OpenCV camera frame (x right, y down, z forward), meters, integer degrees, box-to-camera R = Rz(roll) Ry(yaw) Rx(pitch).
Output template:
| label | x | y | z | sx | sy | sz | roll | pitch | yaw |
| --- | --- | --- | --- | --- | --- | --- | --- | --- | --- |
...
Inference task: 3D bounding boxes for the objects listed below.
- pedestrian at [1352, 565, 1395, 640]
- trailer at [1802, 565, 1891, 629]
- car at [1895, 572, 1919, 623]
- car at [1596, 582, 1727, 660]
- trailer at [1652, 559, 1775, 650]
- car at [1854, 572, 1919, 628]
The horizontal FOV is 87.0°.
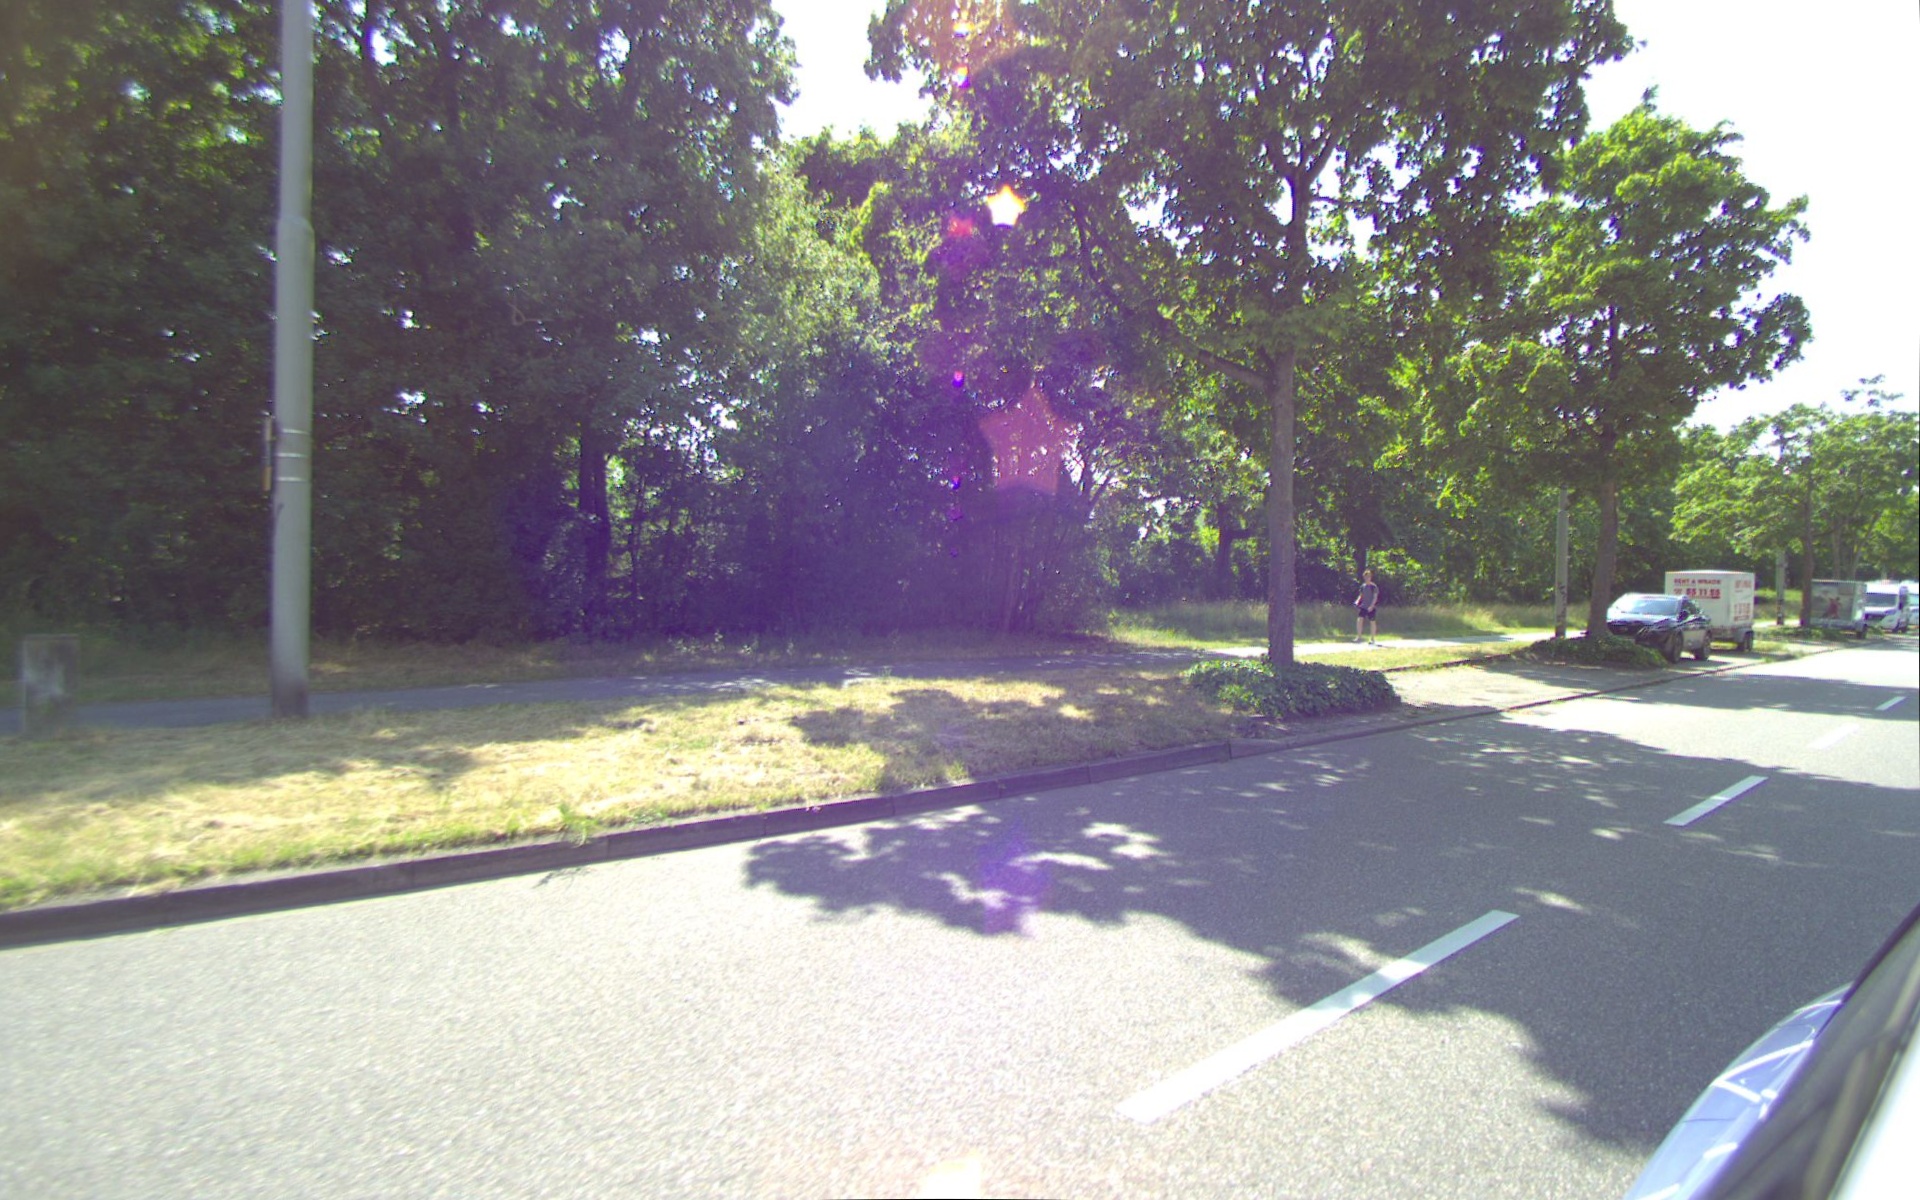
| label | x | y | z | sx | sy | sz | roll | pitch | yaw |
| --- | --- | --- | --- | --- | --- | --- | --- | --- | --- |
| pedestrian | 10.224 | 0.060 | 25.025 | 0.727 | 1.816 | 0.718 | 0 | 0 | -41 |
| trailer | 37.438 | -0.188 | 42.697 | 4.699 | 2.393 | 1.999 | -1 | 6 | -41 |
| car | 57.959 | -0.156 | 60.482 | 6.652 | 2.836 | 2.261 | -1 | 4 | -42 |
| car | 17.371 | 0.451 | 24.975 | 4.286 | 1.711 | 1.594 | -1 | 3 | -41 |
| trailer | 21.911 | 0.067 | 29.372 | 4.528 | 2.380 | 1.956 | -1 | 3 | -43 |
| car | 47.866 | -0.034 | 51.975 | 6.046 | 2.729 | 2.178 | -1 | 0 | -42 |
